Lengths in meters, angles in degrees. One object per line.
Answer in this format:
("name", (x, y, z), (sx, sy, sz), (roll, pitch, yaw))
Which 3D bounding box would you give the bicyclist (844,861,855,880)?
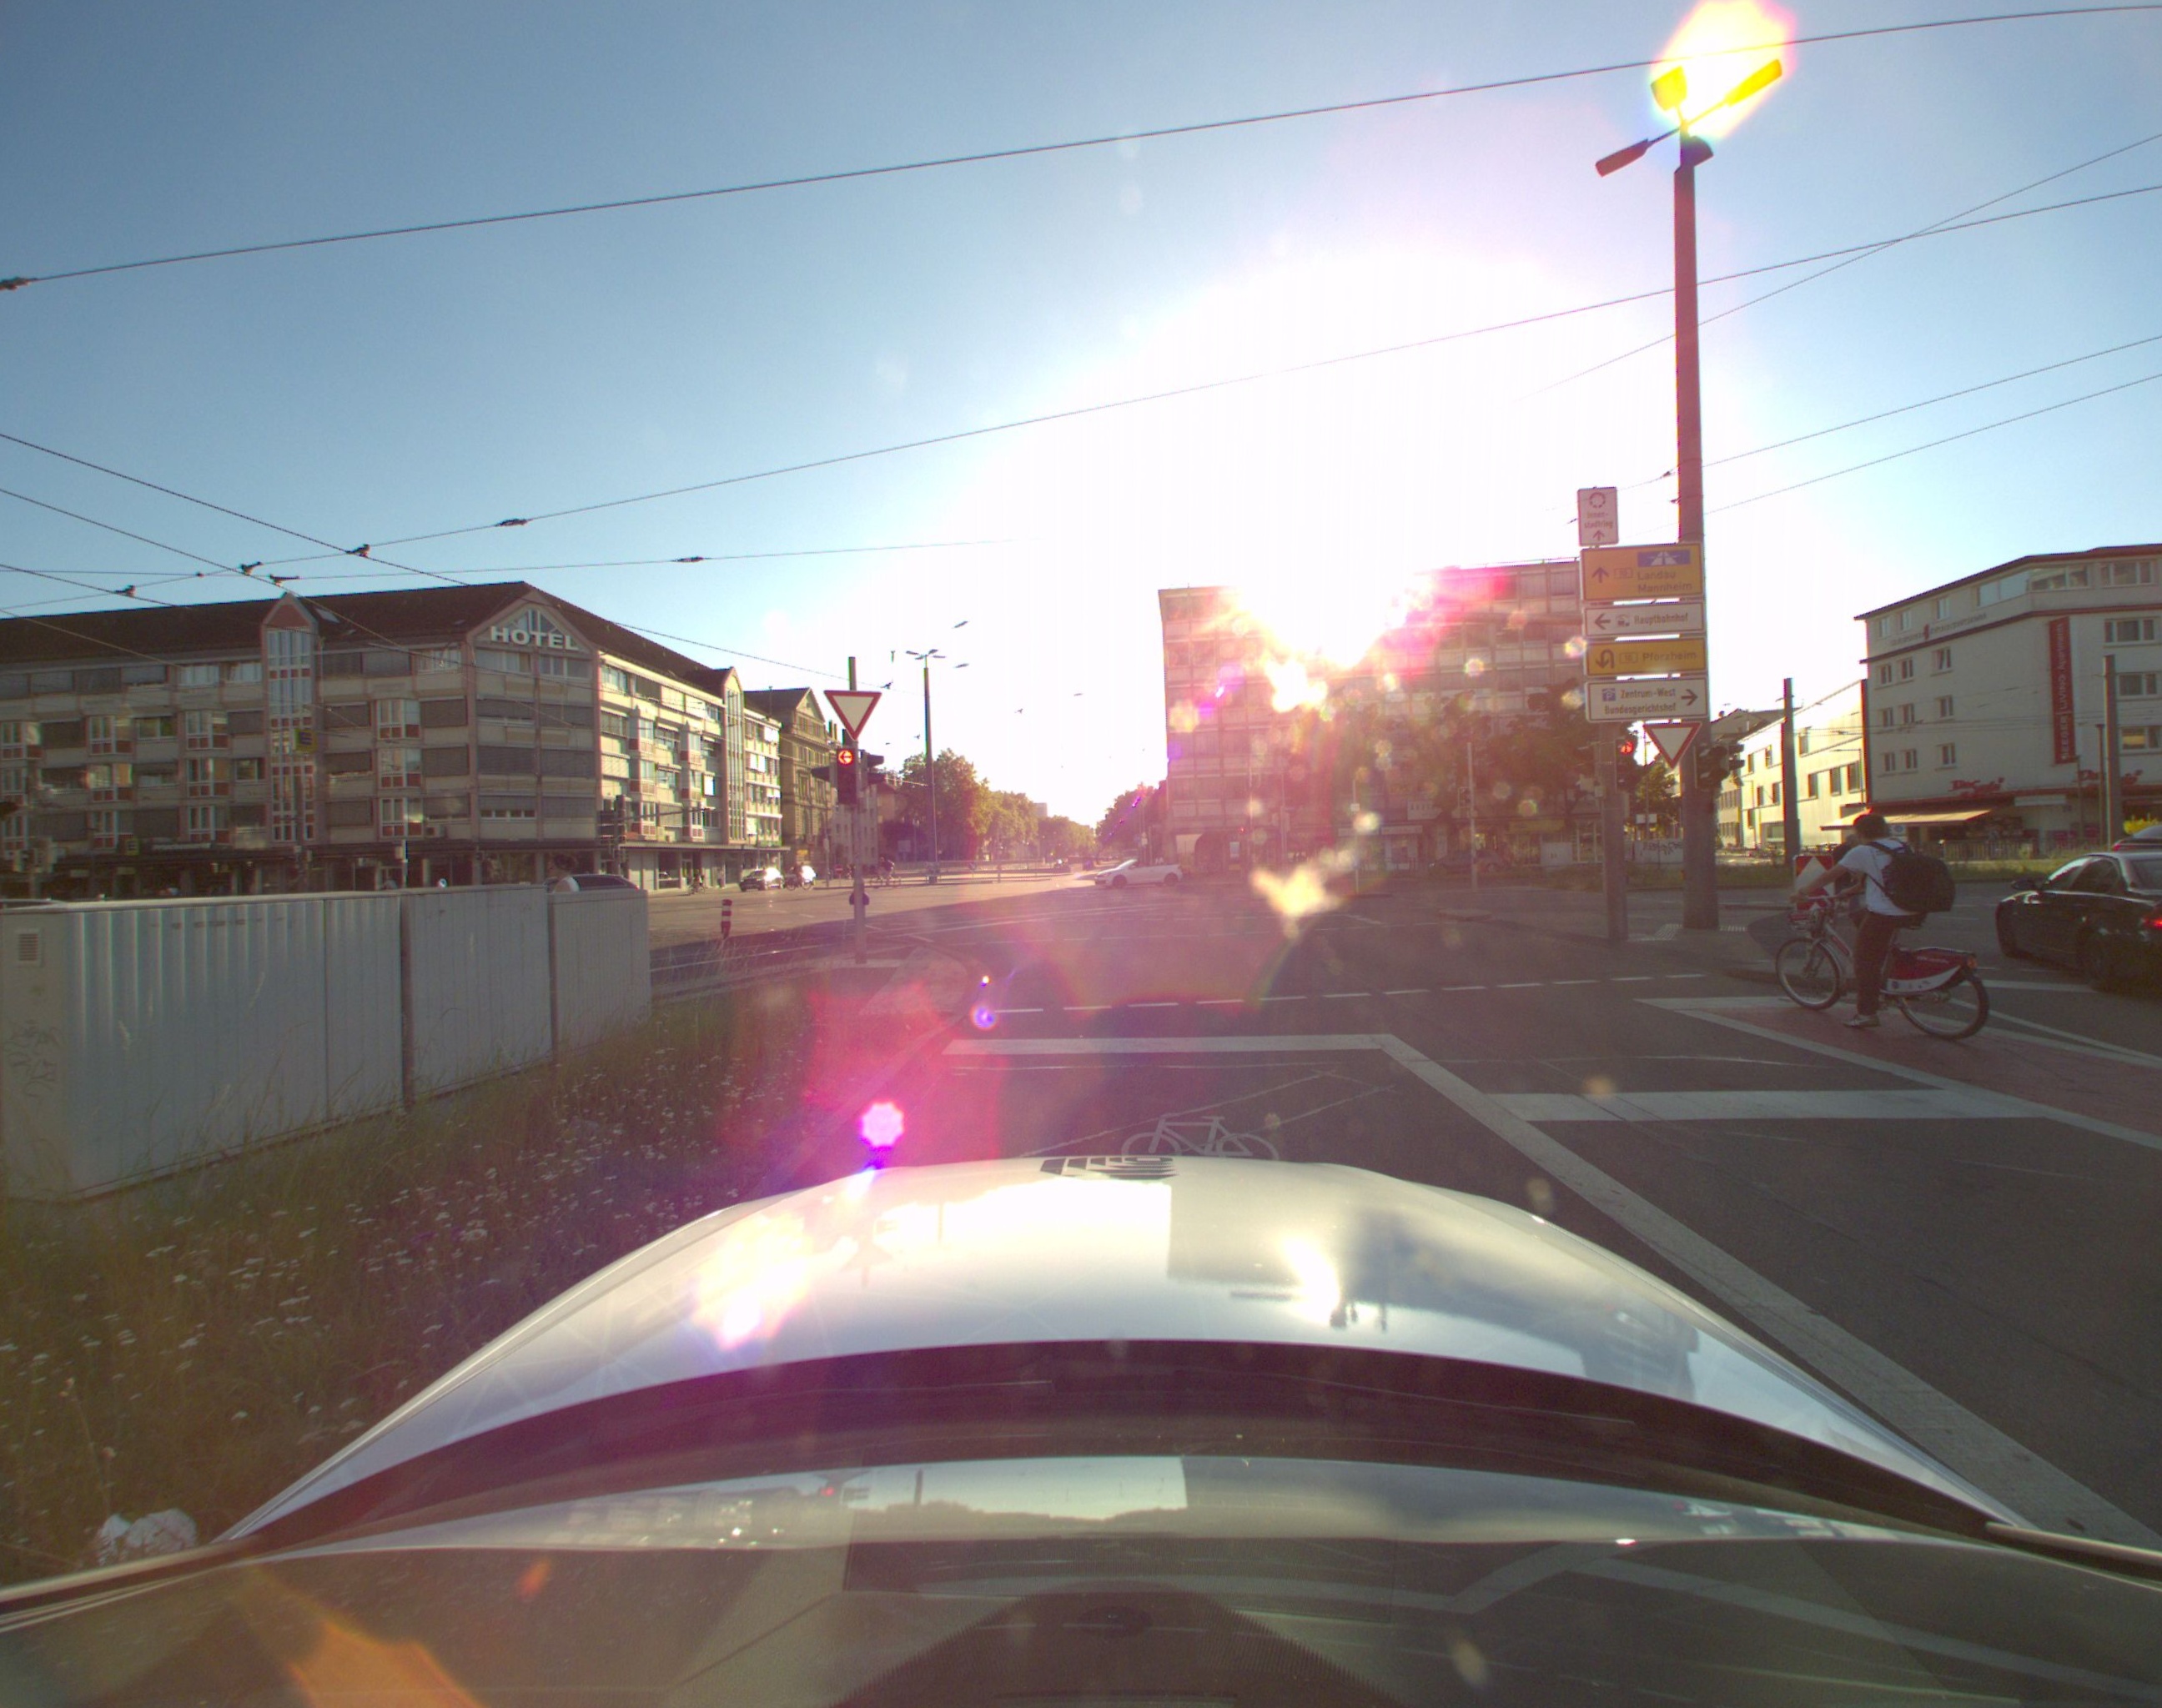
("bicyclist", (-25.306, 1.790, 88.935), (0.822, 2.013, 0.818), (-2, 0, 4))

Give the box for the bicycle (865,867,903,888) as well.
("bicycle", (-11.352, 1.358, 46.924), (1.967, 1.098, 0.677), (-2, 0, -2))

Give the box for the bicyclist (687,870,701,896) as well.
("bicyclist", (-27.653, 2.058, 58.229), (0.590, 1.862, 0.642), (-2, 0, 3))

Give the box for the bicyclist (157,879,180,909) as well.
("bicyclist", (-53.253, 2.308, 47.550), (0.663, 1.712, 0.537), (-2, -1, -8))

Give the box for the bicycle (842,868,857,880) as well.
("bicycle", (-25.286, 2.206, 88.996), (0.815, 1.194, 2.247), (-2, 0, 5))

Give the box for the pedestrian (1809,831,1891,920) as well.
("pedestrian", (14.452, 0.400, 15.320), (0.875, 1.597, 0.655), (-2, 0, 0))

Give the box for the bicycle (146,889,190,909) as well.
("bicycle", (-53.278, 2.644, 47.542), (1.731, 1.059, 0.538), (-2, -1, -8))

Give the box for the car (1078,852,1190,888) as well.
("car", (2.513, 0.747, 38.944), (4.929, 1.479, 1.990), (-2, 0, -16))

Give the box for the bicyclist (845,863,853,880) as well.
("bicyclist", (-25.316, 1.887, 88.772), (0.590, 1.862, 0.642), (-2, 0, 3))

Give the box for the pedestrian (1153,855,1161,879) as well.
("pedestrian", (4.834, 0.836, 51.563), (0.365, 1.508, 0.542), (-2, 0, -5))

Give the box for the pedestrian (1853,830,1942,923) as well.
("pedestrian", (14.524, 0.391, 14.505), (0.875, 1.597, 0.655), (-2, 0, 0))

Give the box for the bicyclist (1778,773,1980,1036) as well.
("bicyclist", (6.569, 0.375, 6.775), (0.641, 2.013, 1.068), (0, 1, 3))

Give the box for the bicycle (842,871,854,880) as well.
("bicycle", (-25.308, 2.362, 88.539), (0.596, 0.915, 1.838), (-2, 0, 4))

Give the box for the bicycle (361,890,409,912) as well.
("bicycle", (-39.715, 2.670, 46.485), (2.089, 1.137, 0.658), (-2, 0, -3))

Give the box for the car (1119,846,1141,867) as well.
("car", (6.259, 0.335, 104.425), (2.477, 2.392, 5.936), (-4, -1, 2))

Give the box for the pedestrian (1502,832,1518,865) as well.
("pedestrian", (26.882, -0.342, 51.027), (0.703, 2.013, 0.559), (-2, -1, 5))

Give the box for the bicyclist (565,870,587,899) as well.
("bicyclist", (-31.226, 1.893, 50.392), (0.896, 1.753, 0.650), (-2, 0, -2))

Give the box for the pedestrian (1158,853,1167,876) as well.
("pedestrian", (5.246, 0.678, 52.432), (0.365, 1.508, 0.542), (-2, 0, -5))

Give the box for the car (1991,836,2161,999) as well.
("car", (11.316, 0.532, 8.459), (1.726, 1.426, 4.026), (-2, 0, 37))

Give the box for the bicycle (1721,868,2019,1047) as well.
("bicycle", (6.574, 0.778, 6.981), (0.642, 1.223, 2.050), (0, 1, 3))

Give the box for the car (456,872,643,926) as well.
("car", (-17.780, 1.427, 27.418), (4.964, 1.479, 1.975), (-2, 0, -44))

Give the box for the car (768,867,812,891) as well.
("car", (-24.807, 2.096, 69.618), (1.984, 1.860, 4.005), (-2, 0, 4))

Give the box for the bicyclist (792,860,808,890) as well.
("bicyclist", (-19.007, 1.420, 55.135), (0.772, 2.013, 0.606), (-2, -1, 8))

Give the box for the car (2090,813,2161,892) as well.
("car", (25.206, -0.063, 17.986), (3.987, 1.693, 1.994), (-1, 1, -10))

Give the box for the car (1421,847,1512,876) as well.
("car", (20.749, 0.418, 44.001), (3.968, 1.420, 2.003), (-2, 0, 5))

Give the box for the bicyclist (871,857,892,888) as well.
("bicyclist", (-11.482, 1.061, 46.916), (1.037, 1.739, 0.677), (-2, -1, -2))

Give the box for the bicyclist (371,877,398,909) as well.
("bicyclist", (-39.757, 2.225, 46.488), (0.896, 1.753, 0.654), (-2, 0, -2))

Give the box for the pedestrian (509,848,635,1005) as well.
("pedestrian", (-5.472, 0.752, 8.792), (0.875, 1.597, 0.655), (-2, 0, 1))

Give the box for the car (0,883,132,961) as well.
("car", (-24.199, 1.546, 17.667), (1.974, 1.596, 4.373), (-3, 0, 29))

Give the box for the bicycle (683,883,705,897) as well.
("bicycle", (-27.572, 2.540, 58.058), (0.596, 0.915, 1.838), (-2, 0, 4))

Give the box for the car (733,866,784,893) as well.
("car", (-24.540, 1.884, 62.158), (1.984, 1.860, 4.005), (-2, 0, 4))

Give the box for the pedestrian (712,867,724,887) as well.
("pedestrian", (-29.993, 1.903, 67.259), (0.623, 1.605, 0.705), (-2, 0, 3))

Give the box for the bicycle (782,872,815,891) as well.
("bicycle", (-19.128, 1.849, 55.145), (1.950, 1.201, 0.611), (-2, 0, 7))
